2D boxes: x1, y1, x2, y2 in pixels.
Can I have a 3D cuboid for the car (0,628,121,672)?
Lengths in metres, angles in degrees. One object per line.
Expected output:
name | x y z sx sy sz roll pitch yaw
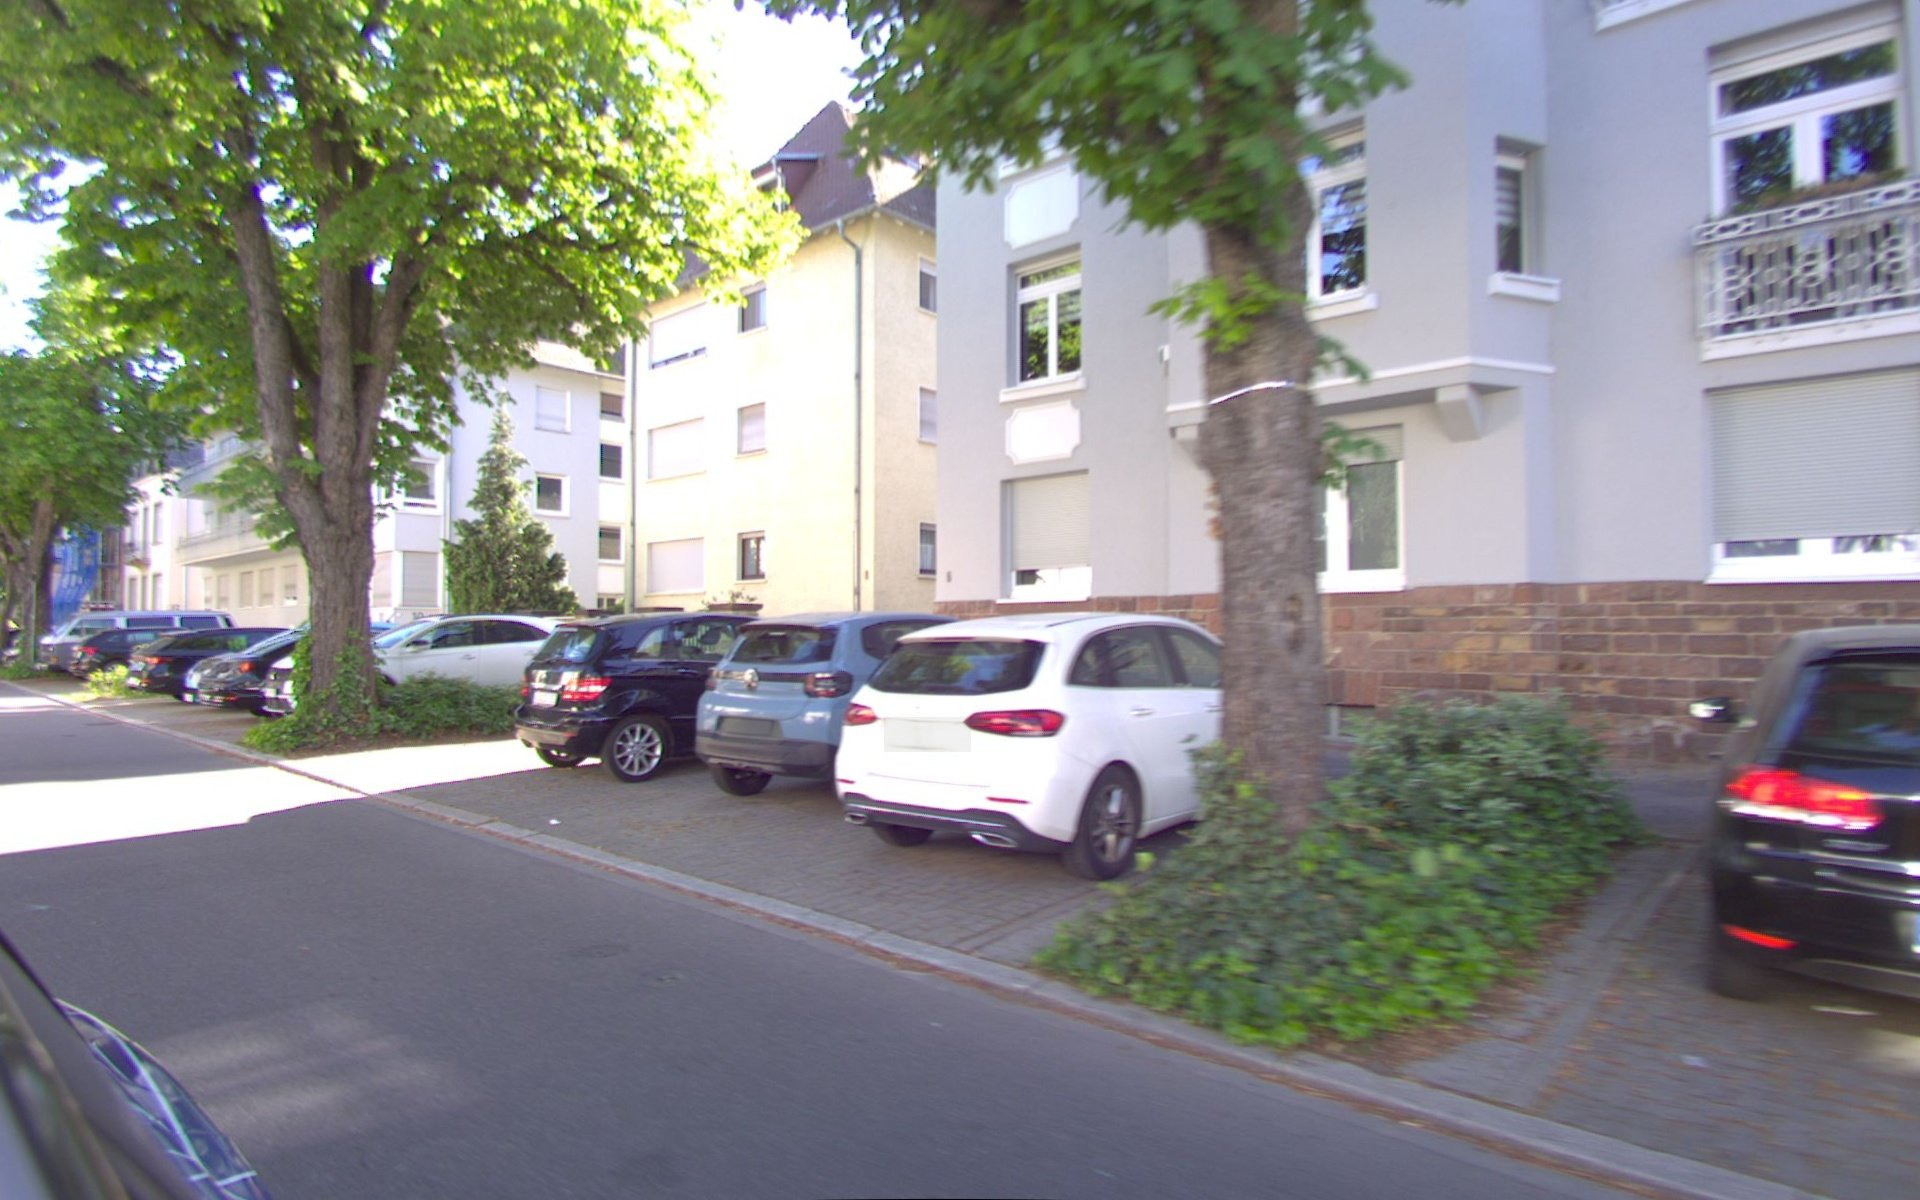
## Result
car | -32.958 1.790 36.806 1.707 1.431 3.447 0 0 36

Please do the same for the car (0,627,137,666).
car | -34.872 1.773 39.383 1.711 1.452 4.145 -2 -2 40

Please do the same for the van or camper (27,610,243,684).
van or camper | -23.201 1.288 28.595 1.963 1.929 4.450 -1 -2 41

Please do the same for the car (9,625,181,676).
car | -27.266 1.565 31.996 1.713 1.425 3.883 -2 -1 39

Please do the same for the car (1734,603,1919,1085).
car | 4.609 0.762 4.366 1.799 1.455 3.981 0 0 41

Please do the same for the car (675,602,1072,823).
car | -0.618 0.834 9.228 1.767 1.587 3.484 -2 -1 36

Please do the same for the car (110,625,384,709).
car | -14.175 1.283 20.311 1.860 1.510 4.144 -2 -3 40

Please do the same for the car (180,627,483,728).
car | -10.317 1.208 16.856 1.696 1.479 3.946 -2 -3 40

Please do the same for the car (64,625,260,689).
car | -21.080 1.447 26.843 1.662 1.510 3.902 -2 -2 43

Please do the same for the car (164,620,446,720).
car | -11.857 1.214 18.525 1.876 1.604 3.947 -1 -3 39

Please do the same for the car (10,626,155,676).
car | -29.084 1.652 33.603 1.797 1.469 3.441 -1 -1 42

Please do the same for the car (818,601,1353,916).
car | 1.117 0.793 7.053 1.805 1.496 3.982 -2 -1 40

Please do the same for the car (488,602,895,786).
car | -2.726 0.842 10.830 1.848 1.587 3.820 -2 -1 44

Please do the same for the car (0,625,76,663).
car | -41.574 1.936 44.383 1.827 1.525 3.841 -1 0 32

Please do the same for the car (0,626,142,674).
car | -30.940 1.698 35.280 1.710 1.474 3.604 -1 -1 43

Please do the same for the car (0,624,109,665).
car | -38.376 1.809 41.871 1.831 1.619 4.545 -1 -2 38

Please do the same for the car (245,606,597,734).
car | -8.017 1.054 15.387 1.822 1.665 4.339 -4 -5 42
